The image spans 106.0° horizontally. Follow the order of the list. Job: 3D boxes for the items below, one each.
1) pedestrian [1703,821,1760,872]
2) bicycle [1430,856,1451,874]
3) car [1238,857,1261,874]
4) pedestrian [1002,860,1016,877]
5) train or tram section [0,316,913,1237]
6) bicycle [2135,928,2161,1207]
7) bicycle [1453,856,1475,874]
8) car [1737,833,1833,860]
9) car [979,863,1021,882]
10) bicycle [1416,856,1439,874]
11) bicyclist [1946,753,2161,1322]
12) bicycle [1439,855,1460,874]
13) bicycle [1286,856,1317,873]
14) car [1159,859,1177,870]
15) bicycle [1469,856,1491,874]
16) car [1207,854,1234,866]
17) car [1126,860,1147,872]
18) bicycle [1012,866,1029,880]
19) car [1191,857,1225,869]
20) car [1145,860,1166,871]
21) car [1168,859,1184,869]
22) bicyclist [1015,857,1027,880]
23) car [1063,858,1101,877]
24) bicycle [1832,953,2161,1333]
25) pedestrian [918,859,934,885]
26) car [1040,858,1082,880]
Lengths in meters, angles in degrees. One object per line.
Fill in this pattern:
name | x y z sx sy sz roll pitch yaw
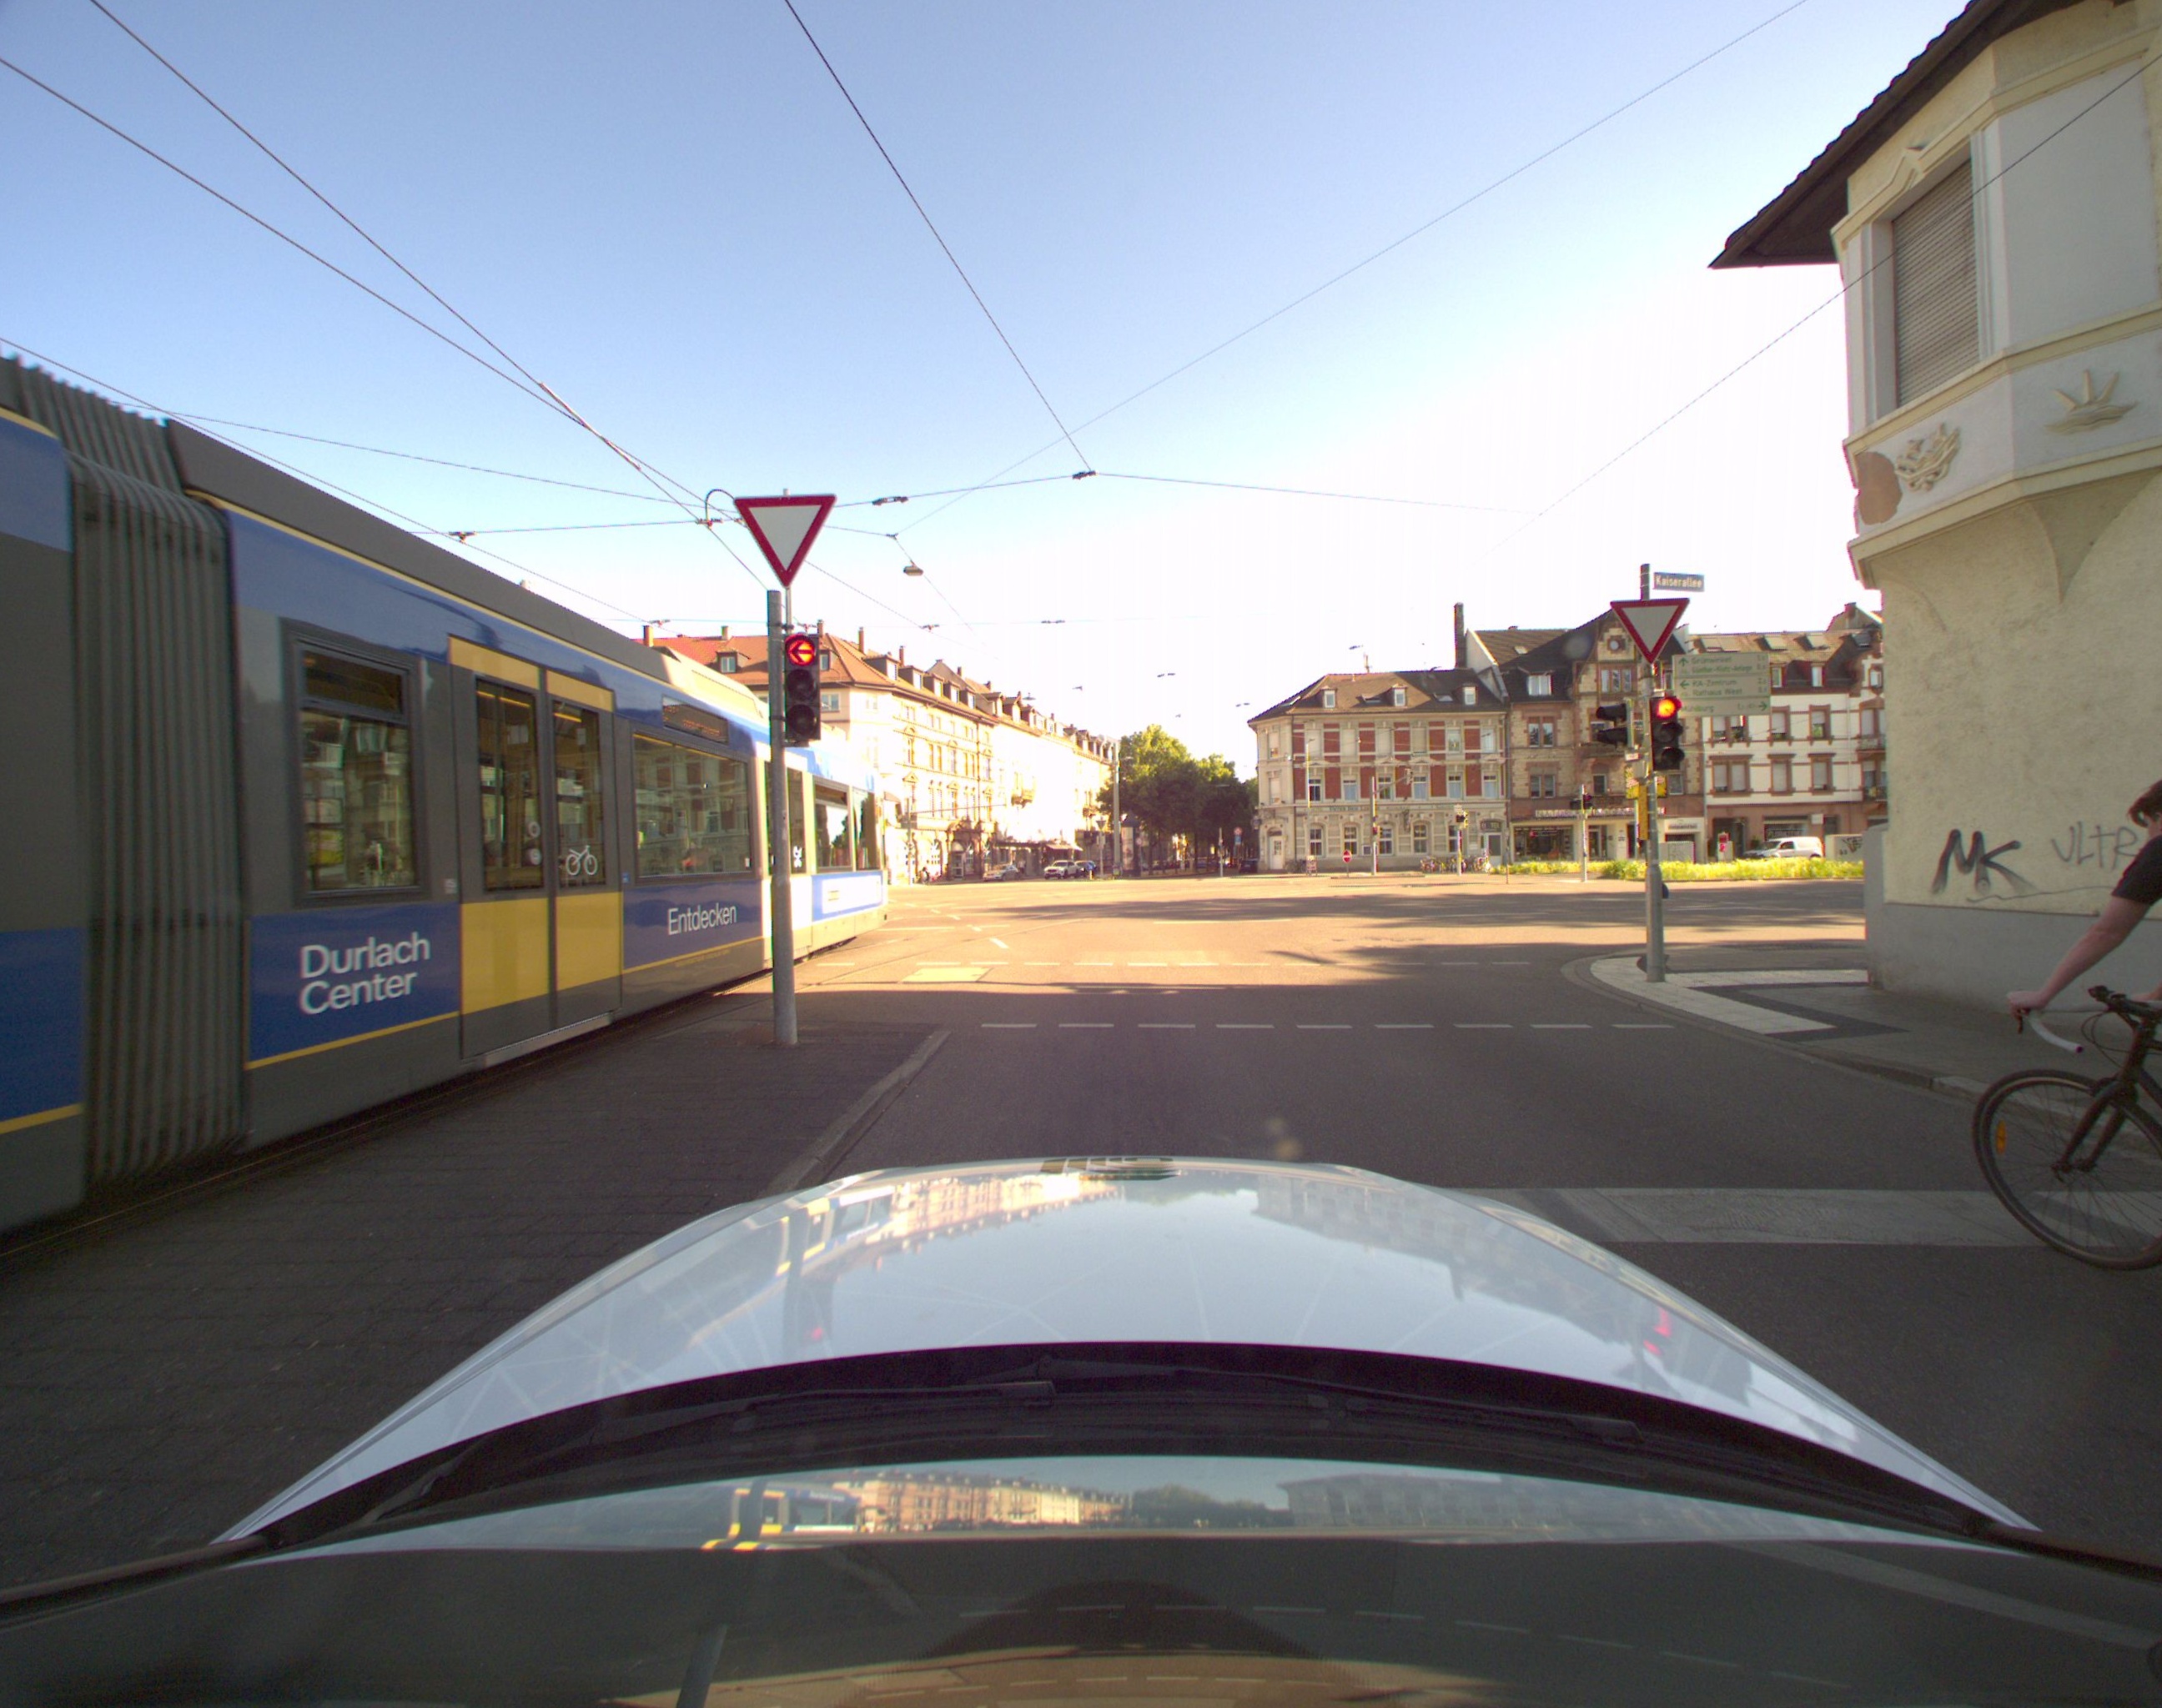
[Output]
pedestrian | 27.115 -0.303 33.975 1.314 2.044 1.307 -2 0 1
bicycle | 23.281 0.696 52.813 0.615 1.143 2.178 -2 0 7
car | 17.019 1.145 82.191 1.978 1.585 4.017 -2 0 16
pedestrian | -6.827 1.359 77.268 0.921 1.535 1.142 -1 0 16
train or tram section | -4.653 -0.287 9.124 2.760 3.499 12.032 -1 0 1
bicycle | 4.535 0.858 2.421 0.516 1.116 1.815 -2 0 4
bicycle | 24.780 0.714 52.665 0.615 1.143 2.178 -2 0 7
car | 45.361 -0.474 52.529 4.317 1.640 2.152 -2 0 1
car | -6.680 1.523 67.357 1.883 1.455 4.020 -2 0 20
bicycle | 22.502 0.705 52.962 0.802 1.143 2.178 -2 0 7
bicyclist | 3.600 0.561 2.569 0.559 1.754 1.102 -2 0 4
bicycle | 23.860 0.676 52.760 0.615 1.143 2.178 -2 0 7
bicycle | 15.502 0.726 57.165 2.081 1.124 0.366 0 -1 -3
car | 13.918 1.706 130.308 1.822 1.552 4.412 -2 0 19
bicycle | 25.758 0.694 52.575 0.606 1.136 2.139 -2 0 7
car | 22.836 0.978 133.278 3.948 1.706 2.013 -2 0 32
car | 7.538 1.673 110.956 1.978 1.486 4.017 -1 0 16
bicycle | -4.814 1.513 65.271 0.675 1.066 2.133 -2 0 14
car | 17.976 1.315 115.090 4.335 1.612 2.012 -2 0 28
car | 11.259 1.736 122.576 1.977 1.612 4.413 -2 0 20
car | 15.836 1.727 136.142 1.750 1.549 4.411 -2 0 18
bicyclist | -4.810 1.133 65.315 0.674 1.820 1.075 -2 0 14
car | 0.120 1.220 73.991 1.977 1.612 4.413 -2 0 20
bicycle | 3.615 0.948 2.646 0.642 1.010 1.930 -2 0 4
pedestrian | -10.630 1.205 55.906 1.046 1.744 0.806 -1 0 -9
car | -1.605 1.253 67.514 1.977 1.684 4.413 -2 0 20
